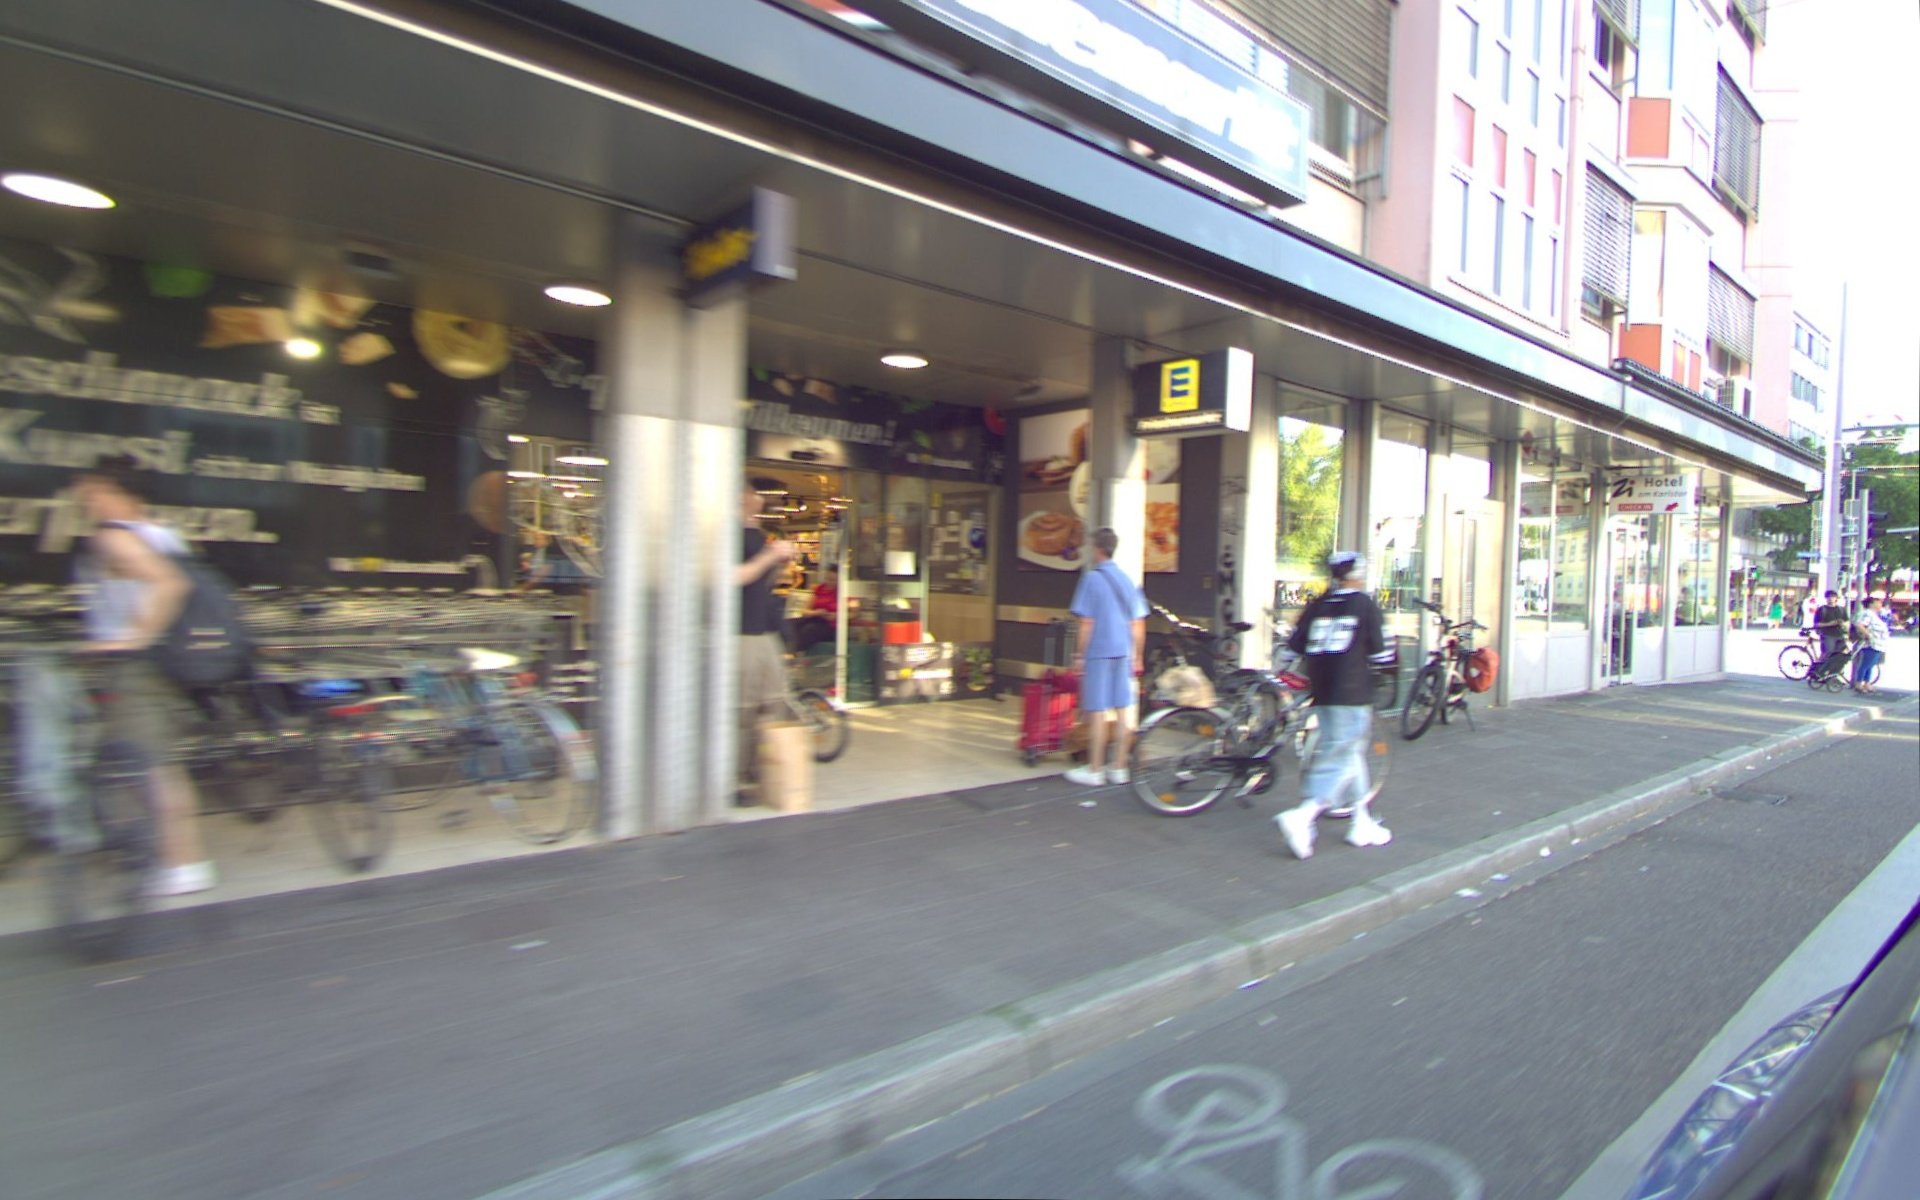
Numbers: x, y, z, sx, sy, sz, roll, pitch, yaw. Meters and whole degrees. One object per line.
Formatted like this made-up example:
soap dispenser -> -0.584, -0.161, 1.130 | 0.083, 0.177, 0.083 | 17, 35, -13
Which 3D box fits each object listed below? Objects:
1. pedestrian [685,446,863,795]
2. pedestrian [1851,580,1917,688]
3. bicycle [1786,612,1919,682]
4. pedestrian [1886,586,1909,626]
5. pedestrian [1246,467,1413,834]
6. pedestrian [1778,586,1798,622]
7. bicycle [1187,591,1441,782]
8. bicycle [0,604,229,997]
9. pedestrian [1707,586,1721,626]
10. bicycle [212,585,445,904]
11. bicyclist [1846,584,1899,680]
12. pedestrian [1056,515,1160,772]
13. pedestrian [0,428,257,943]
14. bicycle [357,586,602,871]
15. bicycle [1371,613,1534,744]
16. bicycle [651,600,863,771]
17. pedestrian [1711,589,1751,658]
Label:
pedestrian -> -1.041, 0.095, 5.807 | 0.722, 1.839, 0.804 | 1, 1, 13
pedestrian -> 15.238, 0.543, 16.709 | 0.635, 1.681, 0.757 | 7, 5, 41
bicycle -> 16.543, 0.830, 18.483 | 0.756, 1.137, 2.172 | 0, 2, -43
pedestrian -> 48.918, 0.313, 52.799 | 0.743, 2.039, 1.057 | -1, -1, 37
pedestrian -> 1.986, 0.240, 5.547 | 0.722, 1.839, 0.804 | 1, 1, 13
pedestrian -> 33.952, 0.175, 41.513 | 0.594, 1.461, 0.605 | -1, -1, 39
bicycle -> 2.574, 0.575, 7.355 | 1.599, 1.189, 0.803 | 1, 5, -29
bicycle -> -3.236, 0.594, 3.884 | 0.646, 0.985, 2.029 | 1, 4, -37
pedestrian -> 33.031, 0.270, 44.326 | 0.402, 1.740, 0.391 | -1, -1, 27
bicycle -> -2.938, 0.518, 4.606 | 0.566, 1.073, 1.927 | 0, 3, -42
bicyclist -> 16.613, 0.559, 18.428 | 0.756, 1.699, 0.636 | 0, 1, -44
pedestrian -> 0.951, 0.269, 6.564 | 0.451, 1.614, 0.409 | 2, 4, -12
pedestrian -> -3.206, 0.259, 3.748 | 0.902, 1.683, 0.778 | 0, 3, -42
bicycle -> -2.460, 0.518, 5.046 | 0.566, 1.073, 1.927 | 0, 3, -42
bicycle -> 4.570, 0.672, 9.335 | 1.812, 0.987, 0.677 | -1, 6, -43
bicycle -> -1.508, 0.537, 7.246 | 0.566, 0.950, 1.927 | 0, 3, -42
pedestrian -> 18.096, 0.540, 23.761 | 0.688, 1.554, 0.605 | 2, 1, 39
